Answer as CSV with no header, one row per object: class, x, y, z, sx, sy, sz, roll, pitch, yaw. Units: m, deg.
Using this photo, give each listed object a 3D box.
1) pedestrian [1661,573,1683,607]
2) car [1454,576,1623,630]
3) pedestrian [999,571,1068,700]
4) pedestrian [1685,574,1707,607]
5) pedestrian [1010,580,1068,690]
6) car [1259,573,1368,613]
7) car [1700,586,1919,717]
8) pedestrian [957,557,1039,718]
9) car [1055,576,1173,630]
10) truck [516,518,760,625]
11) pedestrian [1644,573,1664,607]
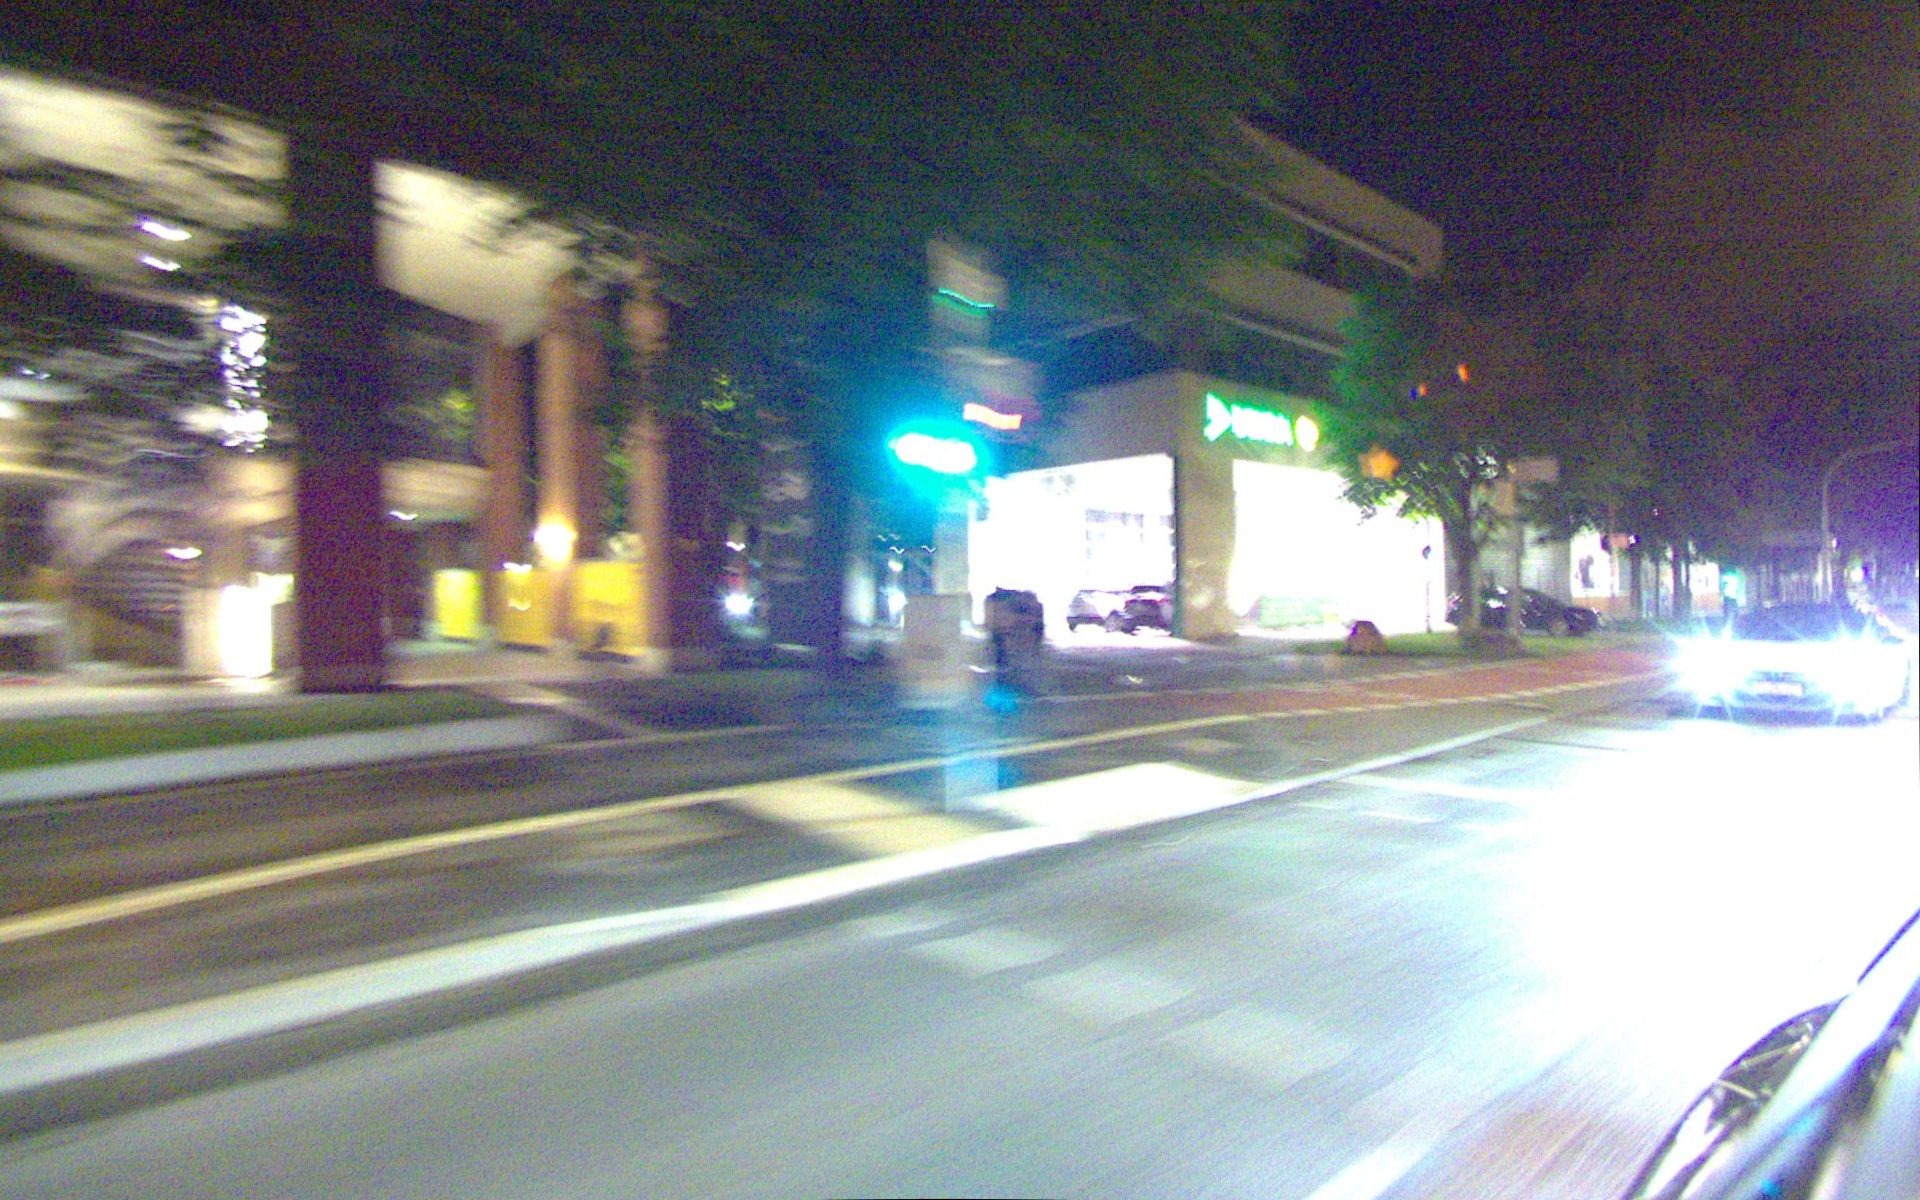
pedestrian,38.216,-0.530,54.311,0.953,1.811,0.720,-1,1,-41
car,17.246,0.044,30.309,1.756,1.472,4.088,-2,2,-41
pedestrian,0.984,0.447,13.532,0.667,1.659,0.622,-1,1,-41
pedestrian,38.915,-0.497,53.486,0.968,1.738,0.736,-1,1,-41
pedestrian,1.145,0.486,14.705,0.622,1.553,0.573,-1,1,-41
car,14.685,-0.319,42.148,1.687,1.585,3.954,-2,2,-44
car,11.638,0.569,13.658,4.420,1.448,1.727,-1,0,-41
pedestrian,0.453,0.414,11.964,0.746,1.834,0.623,-1,1,-41
car,5.064,0.044,32.953,3.933,1.615,1.729,-2,2,-43
truck,-14.967,-1.270,45.221,3.082,4.033,16.786,-2,2,-45
pedestrian,37.667,-0.561,54.923,0.890,1.839,0.675,-1,1,-41
